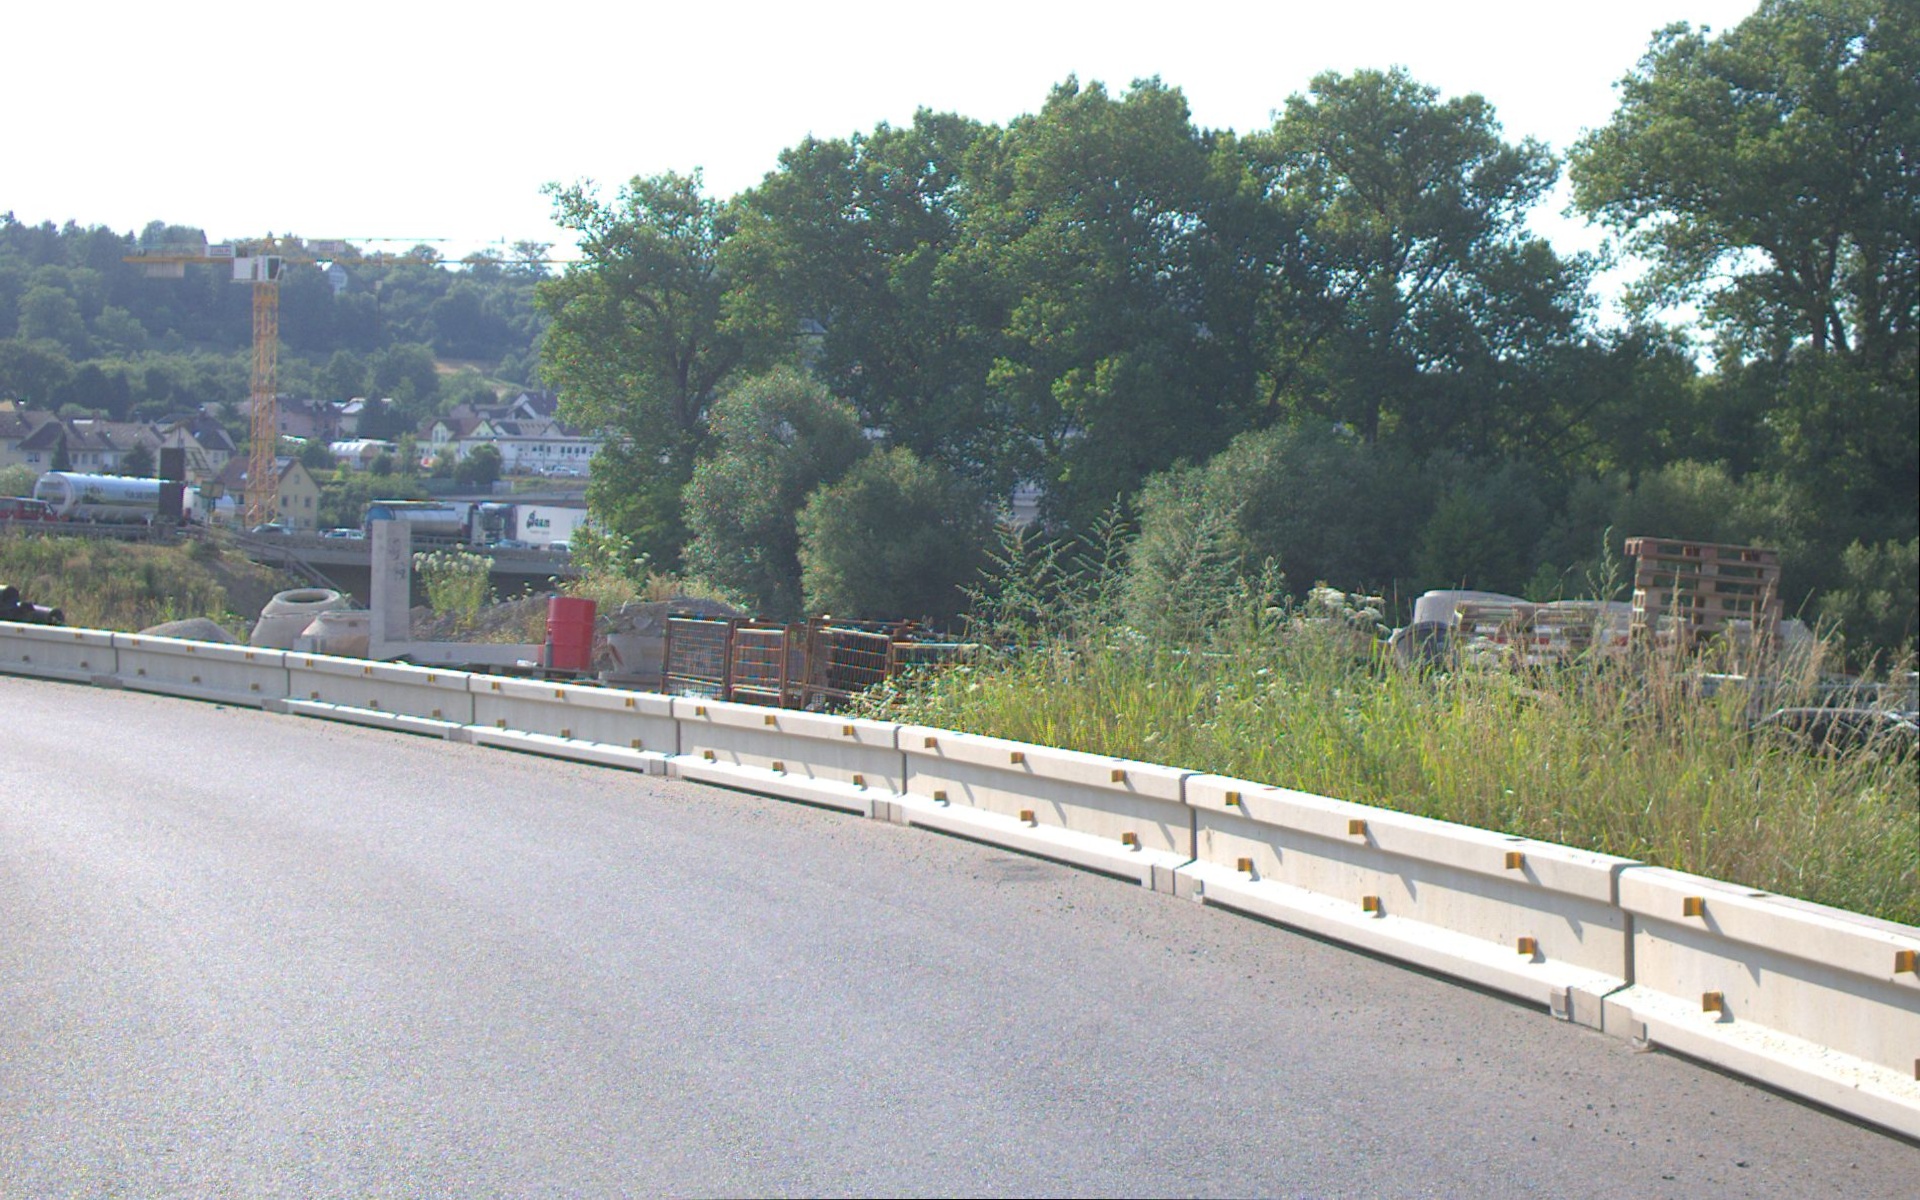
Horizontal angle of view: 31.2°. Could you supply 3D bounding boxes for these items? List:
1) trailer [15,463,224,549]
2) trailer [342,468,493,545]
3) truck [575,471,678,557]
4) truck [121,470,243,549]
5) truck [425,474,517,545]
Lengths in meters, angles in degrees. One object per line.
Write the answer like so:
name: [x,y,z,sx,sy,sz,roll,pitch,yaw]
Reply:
trailer: [-43.580,-4.808,179.116,3.388,3.983,14.733,3,1,17]
trailer: [-33.364,-5.724,212.269,3.106,4.299,14.240,3,1,17]
truck: [-23.548,-6.029,243.538,3.167,5.850,10.665,1,1,18]
truck: [-41.796,-4.840,184.914,3.393,3.983,6.619,3,1,17]
truck: [-31.185,-5.761,219.388,3.100,4.271,6.619,3,1,17]
